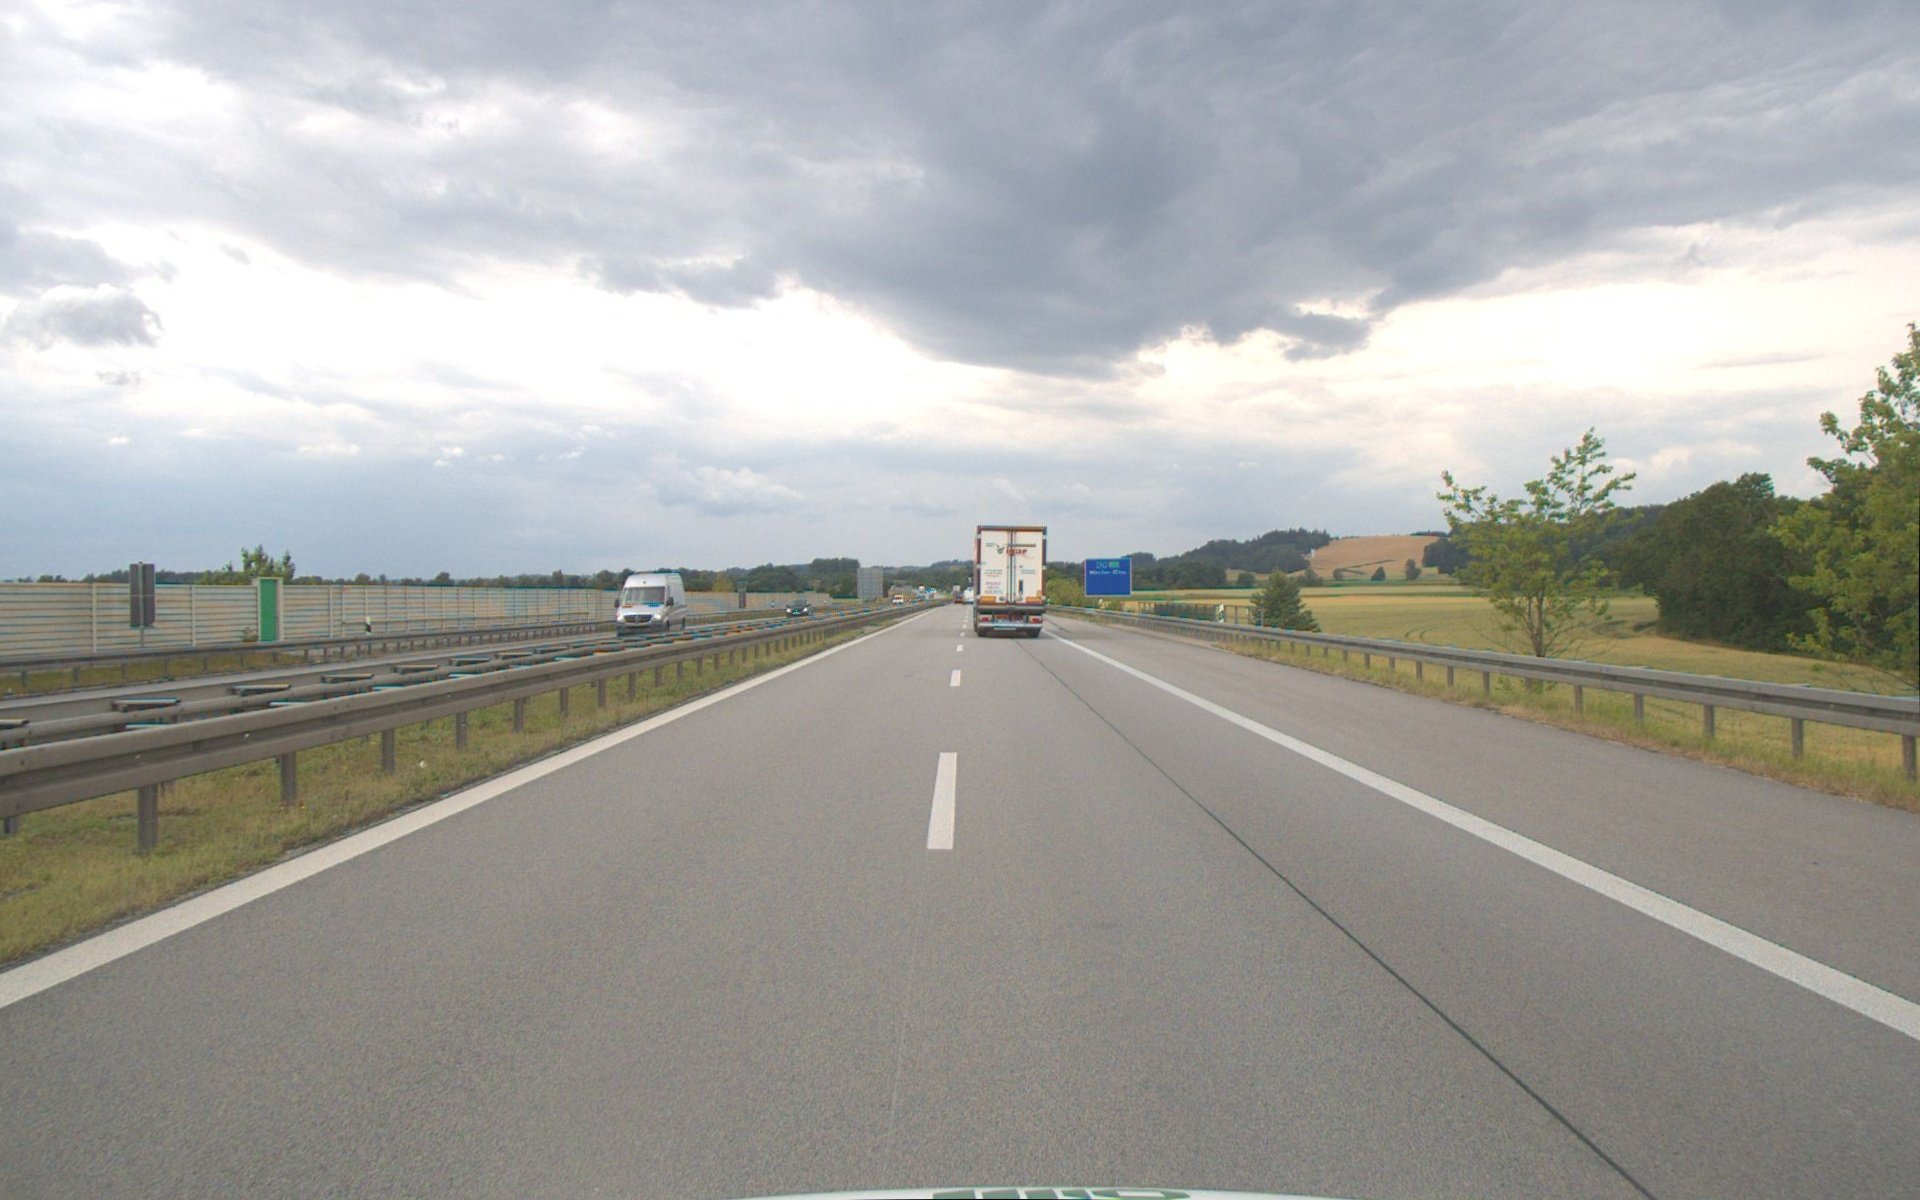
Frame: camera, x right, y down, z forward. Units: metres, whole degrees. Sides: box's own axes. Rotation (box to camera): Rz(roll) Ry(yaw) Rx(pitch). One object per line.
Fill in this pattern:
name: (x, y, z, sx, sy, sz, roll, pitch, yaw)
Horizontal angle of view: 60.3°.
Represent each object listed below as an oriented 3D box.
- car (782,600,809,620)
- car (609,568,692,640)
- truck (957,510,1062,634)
car: (-12.422, 0.770, 124.918, 1.636, 1.410, 4.000, -2, 0, 0)
car: (-12.329, 0.159, 66.326, 2.028, 2.648, 6.288, -4, 0, 0)
truck: (1.779, -1.071, 68.212, 3.597, 4.489, 16.338, 0, 0, -1)
